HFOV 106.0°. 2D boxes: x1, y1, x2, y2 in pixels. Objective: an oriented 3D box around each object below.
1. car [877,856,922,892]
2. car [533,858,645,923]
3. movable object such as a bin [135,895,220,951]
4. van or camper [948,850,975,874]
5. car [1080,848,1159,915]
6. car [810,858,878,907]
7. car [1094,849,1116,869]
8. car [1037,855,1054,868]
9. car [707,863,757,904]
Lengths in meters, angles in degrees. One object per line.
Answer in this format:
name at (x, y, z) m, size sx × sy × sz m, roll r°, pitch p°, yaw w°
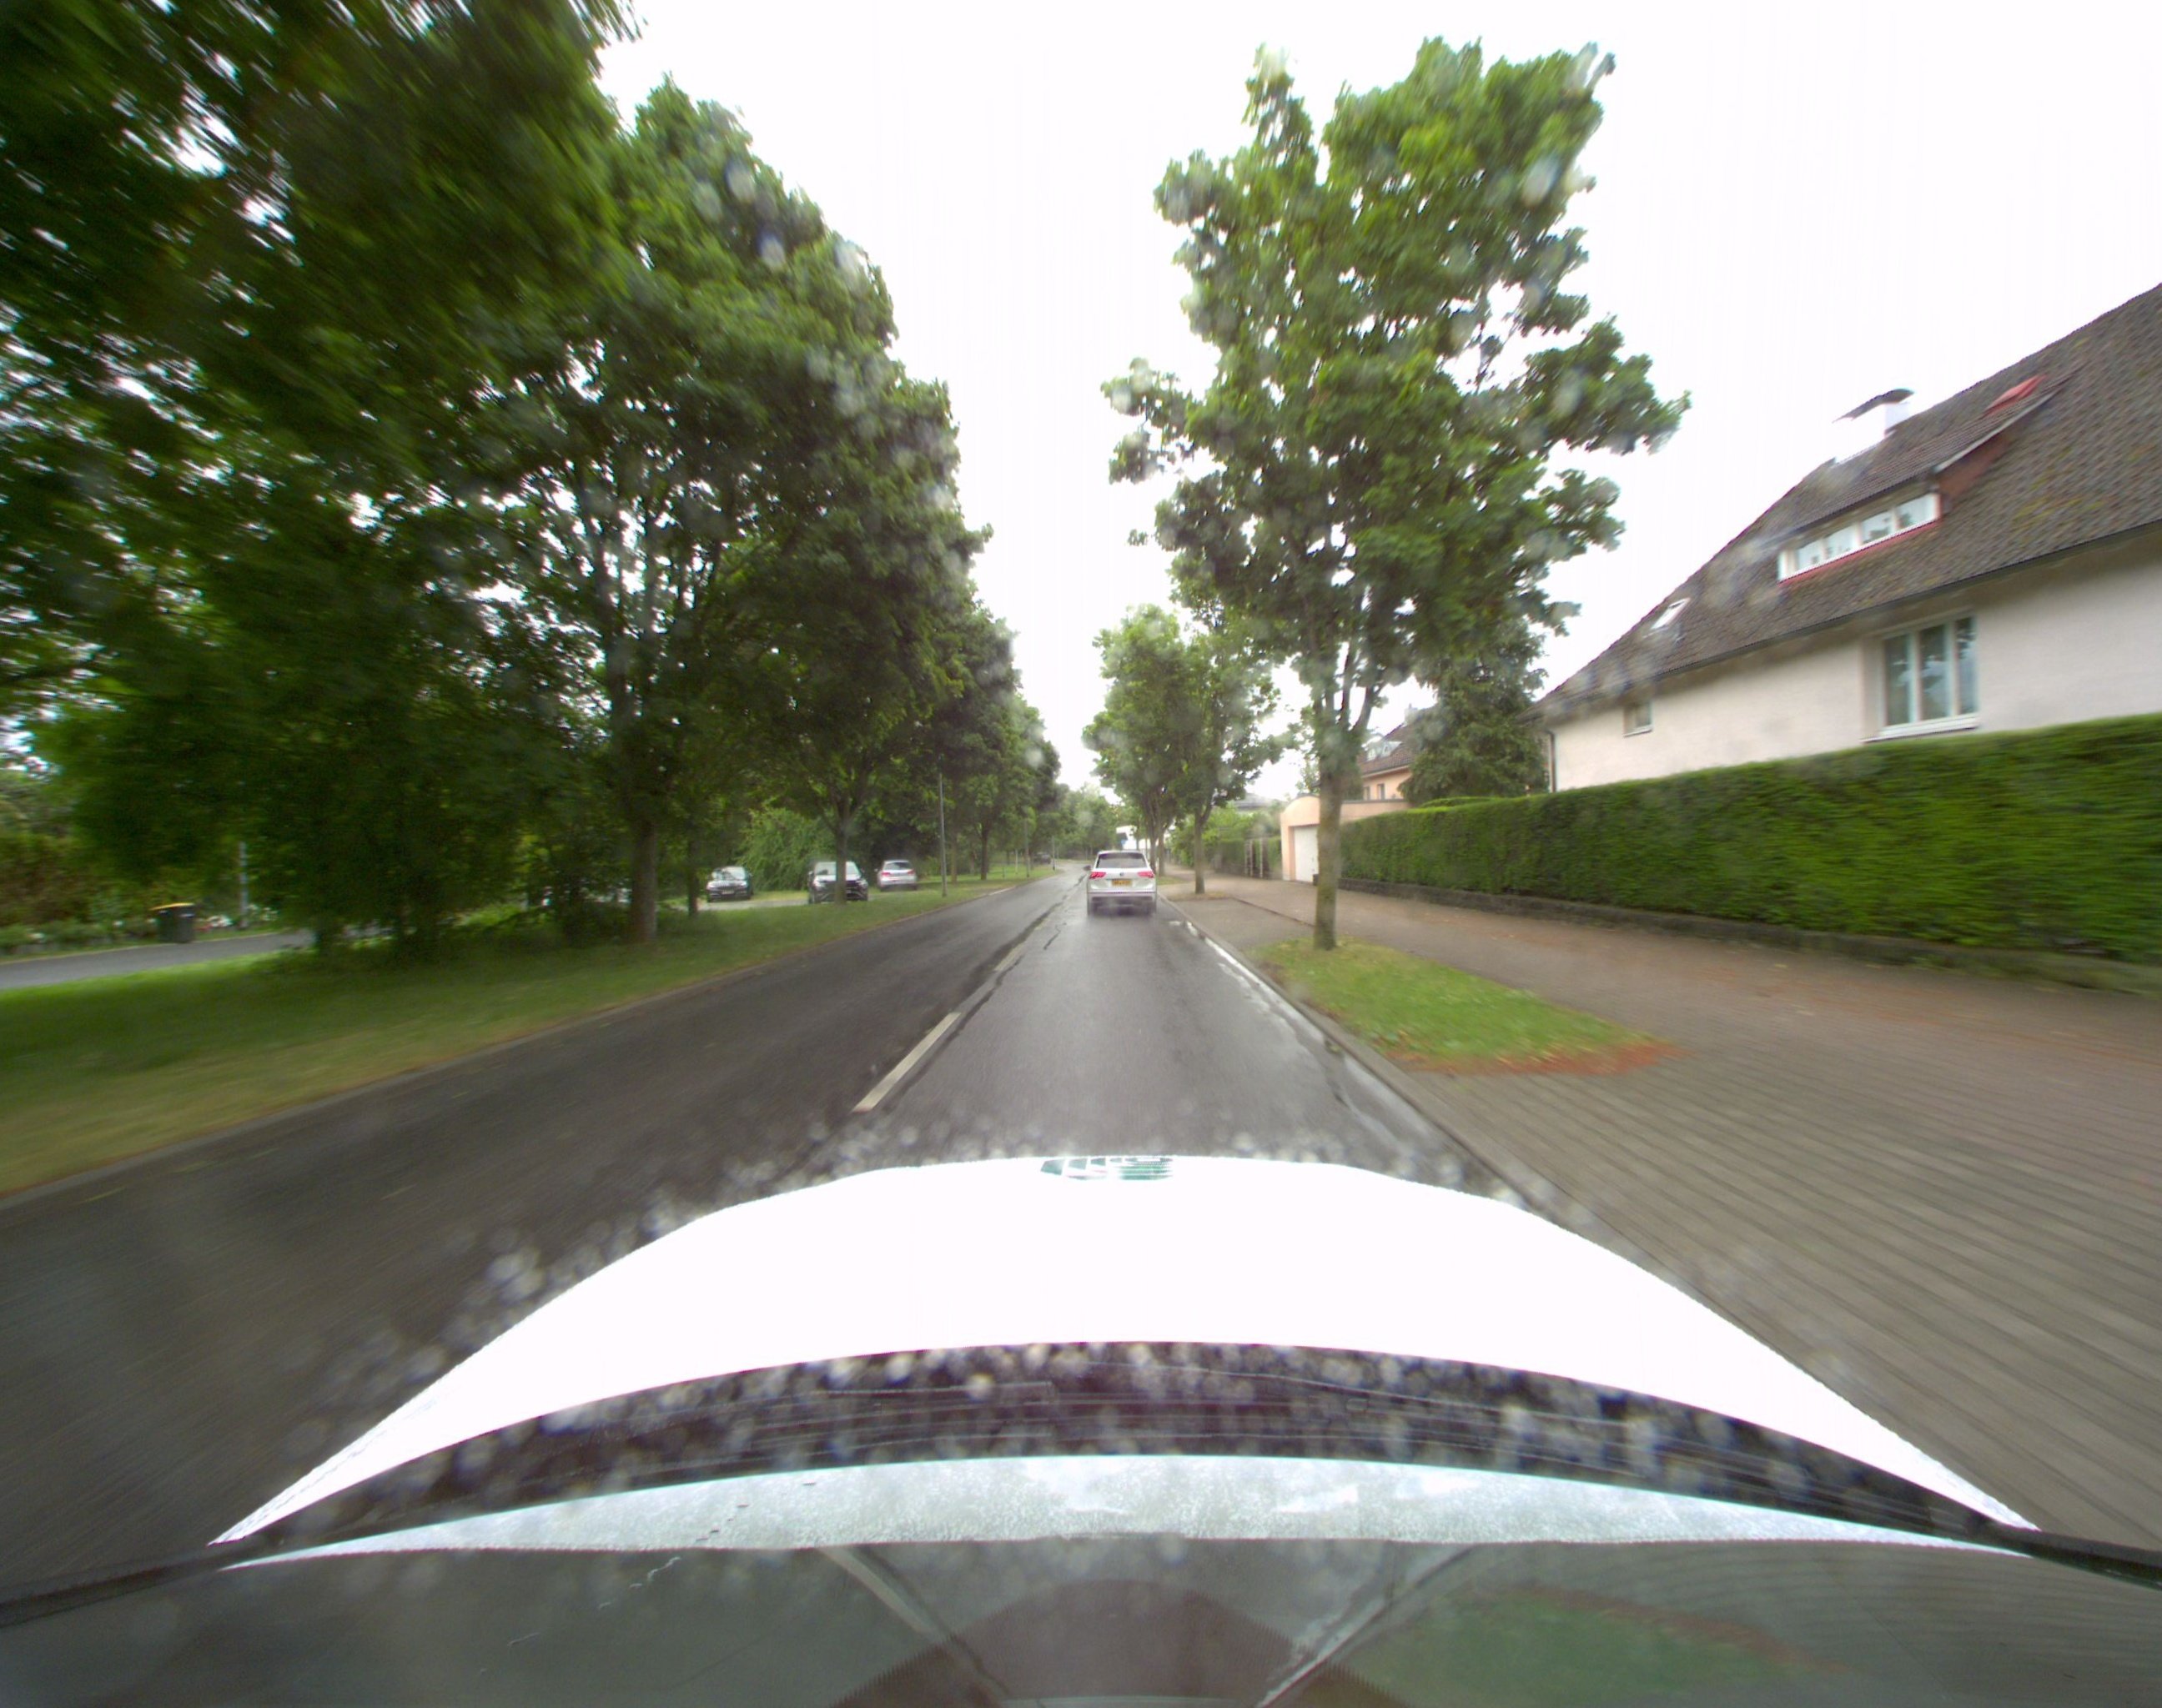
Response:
car at (-8.951, 0.918, 39.961) m, size 1.885 × 1.429 × 4.195 m, roll -3°, pitch 2°, yaw -16°
car at (-15.562, 1.165, 26.070) m, size 1.908 × 1.770 × 4.868 m, roll -3°, pitch -2°, yaw -18°
movable object such as a bin at (-25.358, 1.924, 22.895) m, size 1.082 × 1.467 × 1.166 m, roll 0°, pitch 0°, yaw -7°
van or camper at (-13.044, 0.831, 89.265) m, size 2.381 × 2.360 × 6.797 m, roll -3°, pitch 0°, yaw -6°
car at (1.067, 0.674, 22.471) m, size 1.966 × 1.653 × 4.180 m, roll -1°, pitch 0°, yaw 3°
car at (-8.264, 0.930, 28.685) m, size 1.890 × 1.514 × 4.233 m, roll -2°, pitch 0°, yaw -11°
car at (2.365, 0.498, 81.235) m, size 1.896 × 2.014 × 3.941 m, roll 0°, pitch 0°, yaw -2°
car at (-5.400, 1.108, 123.835) m, size 1.902 × 2.014 × 3.928 m, roll 0°, pitch 0°, yaw -12°
car at (-15.967, 1.276, 37.409) m, size 1.869 × 1.508 × 4.575 m, roll -3°, pitch 2°, yaw -21°
